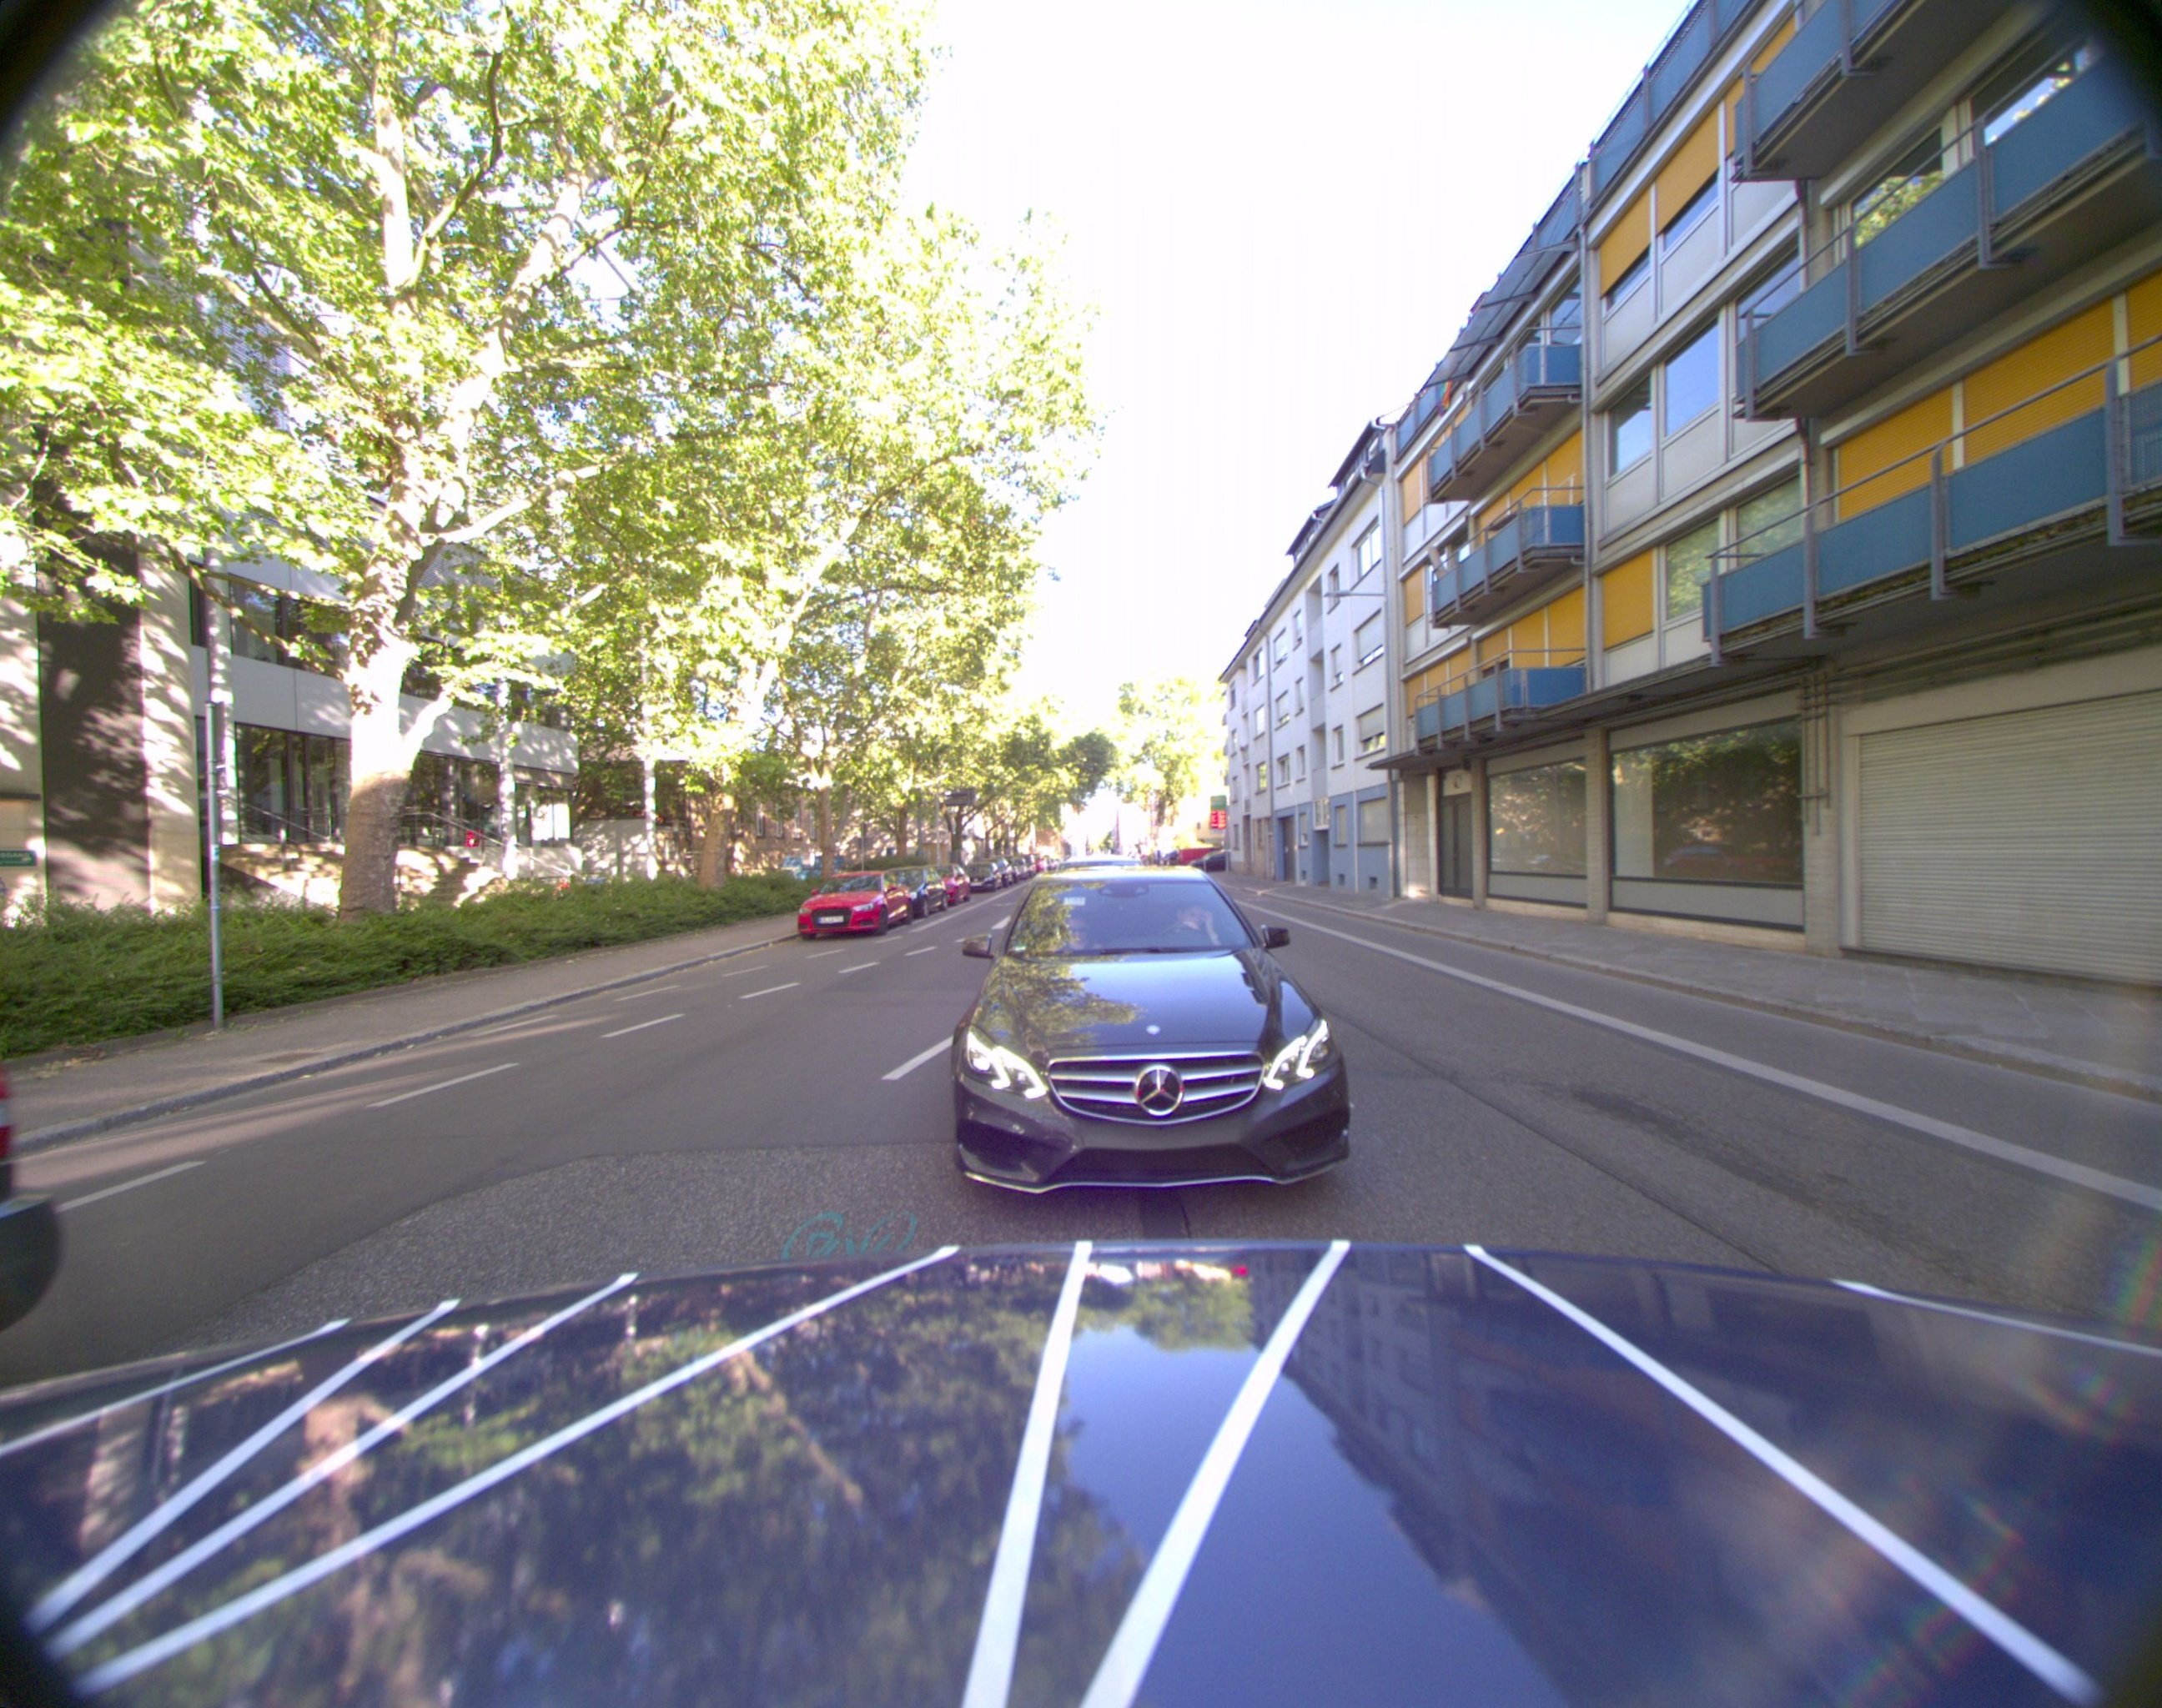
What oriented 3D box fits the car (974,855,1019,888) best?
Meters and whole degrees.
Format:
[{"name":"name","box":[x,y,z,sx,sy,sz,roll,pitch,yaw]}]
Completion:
[{"name":"car","box":[-4.619,0.905,42.211,1.866,1.658,4.481,-2,0,1]}]

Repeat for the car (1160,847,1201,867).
[{"name":"car","box":[10.460,0.307,80.002,3.996,1.936,2.000,-2,1,2]}]

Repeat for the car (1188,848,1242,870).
[{"name":"car","box":[10.716,0.376,61.197,3.996,1.543,2.000,-2,1,2]}]

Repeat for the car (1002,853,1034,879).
[{"name":"car","box":[-4.502,0.817,54.804,1.866,1.749,4.481,-2,0,1]}]

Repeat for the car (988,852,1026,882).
[{"name":"car","box":[-4.631,0.782,48.137,1.866,1.749,4.481,-2,0,1]}]

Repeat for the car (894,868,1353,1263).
[{"name":"car","box":[0.208,0.931,5.412,1.866,1.492,4.481,-2,0,1]}]

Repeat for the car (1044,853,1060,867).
[{"name":"car","box":[-3.673,0.724,96.780,1.866,1.632,4.481,-2,0,1]}]

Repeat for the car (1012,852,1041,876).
[{"name":"car","box":[-4.245,0.754,59.760,1.866,1.749,4.481,-2,0,1]}]

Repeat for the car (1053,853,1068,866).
[{"name":"car","box":[-2.836,0.763,105.189,1.866,1.632,4.481,-2,0,1]}]

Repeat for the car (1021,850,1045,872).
[{"name":"car","box":[-4.407,0.615,70.357,1.866,1.945,4.481,-2,0,1]}]

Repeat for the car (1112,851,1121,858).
[{"name":"car","box":[8.670,0.040,186.646,1.866,1.632,4.481,-2,0,1]}]

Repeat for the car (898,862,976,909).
[{"name":"car","box":[-5.085,1.063,27.429,1.866,1.442,4.481,-2,0,1]}]

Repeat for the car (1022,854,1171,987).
[{"name":"car","box":[0.228,0.856,11.934,1.866,1.630,4.303,-2,0,1]}]

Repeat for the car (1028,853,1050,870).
[{"name":"car","box":[-4.198,0.703,76.282,1.866,1.632,4.481,-2,0,1]}]

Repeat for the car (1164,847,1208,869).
[{"name":"car","box":[10.248,0.377,74.510,3.996,1.936,2.000,-2,1,2]}]

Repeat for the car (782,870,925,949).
[{"name":"car","box":[-5.101,1.176,17.735,1.866,1.442,4.481,-2,0,1]}]

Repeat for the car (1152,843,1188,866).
[{"name":"car","box":[10.489,0.003,89.512,3.996,2.505,2.000,-2,1,2]}]

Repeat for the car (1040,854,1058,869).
[{"name":"car","box":[-3.780,0.891,89.982,1.866,1.632,4.481,-2,0,1]}]

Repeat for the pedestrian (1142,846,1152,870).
[{"name":"pedestrian","box":[5.486,0.342,63.259,0.735,2.002,0.797,-2,1,1]}]

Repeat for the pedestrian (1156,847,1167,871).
[{"name":"pedestrian","box":[6.668,0.394,62.993,0.735,2.002,1.046,-2,1,-1]}]

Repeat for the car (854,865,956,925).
[{"name":"car","box":[-5.041,1.122,22.385,1.866,1.442,4.481,-2,0,1]}]

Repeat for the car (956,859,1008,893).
[{"name":"car","box":[-4.754,1.023,37.176,1.866,1.442,4.481,-2,0,1]}]

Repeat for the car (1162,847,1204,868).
[{"name":"car","box":[10.332,0.344,77.151,3.996,1.936,2.000,-2,1,2]}]

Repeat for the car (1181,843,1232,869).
[{"name":"car","box":[10.549,0.154,64.029,3.996,1.936,2.000,-2,1,2]}]

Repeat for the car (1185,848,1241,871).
[{"name":"car","box":[10.175,0.423,58.875,3.996,1.543,2.000,-2,1,2]}]
